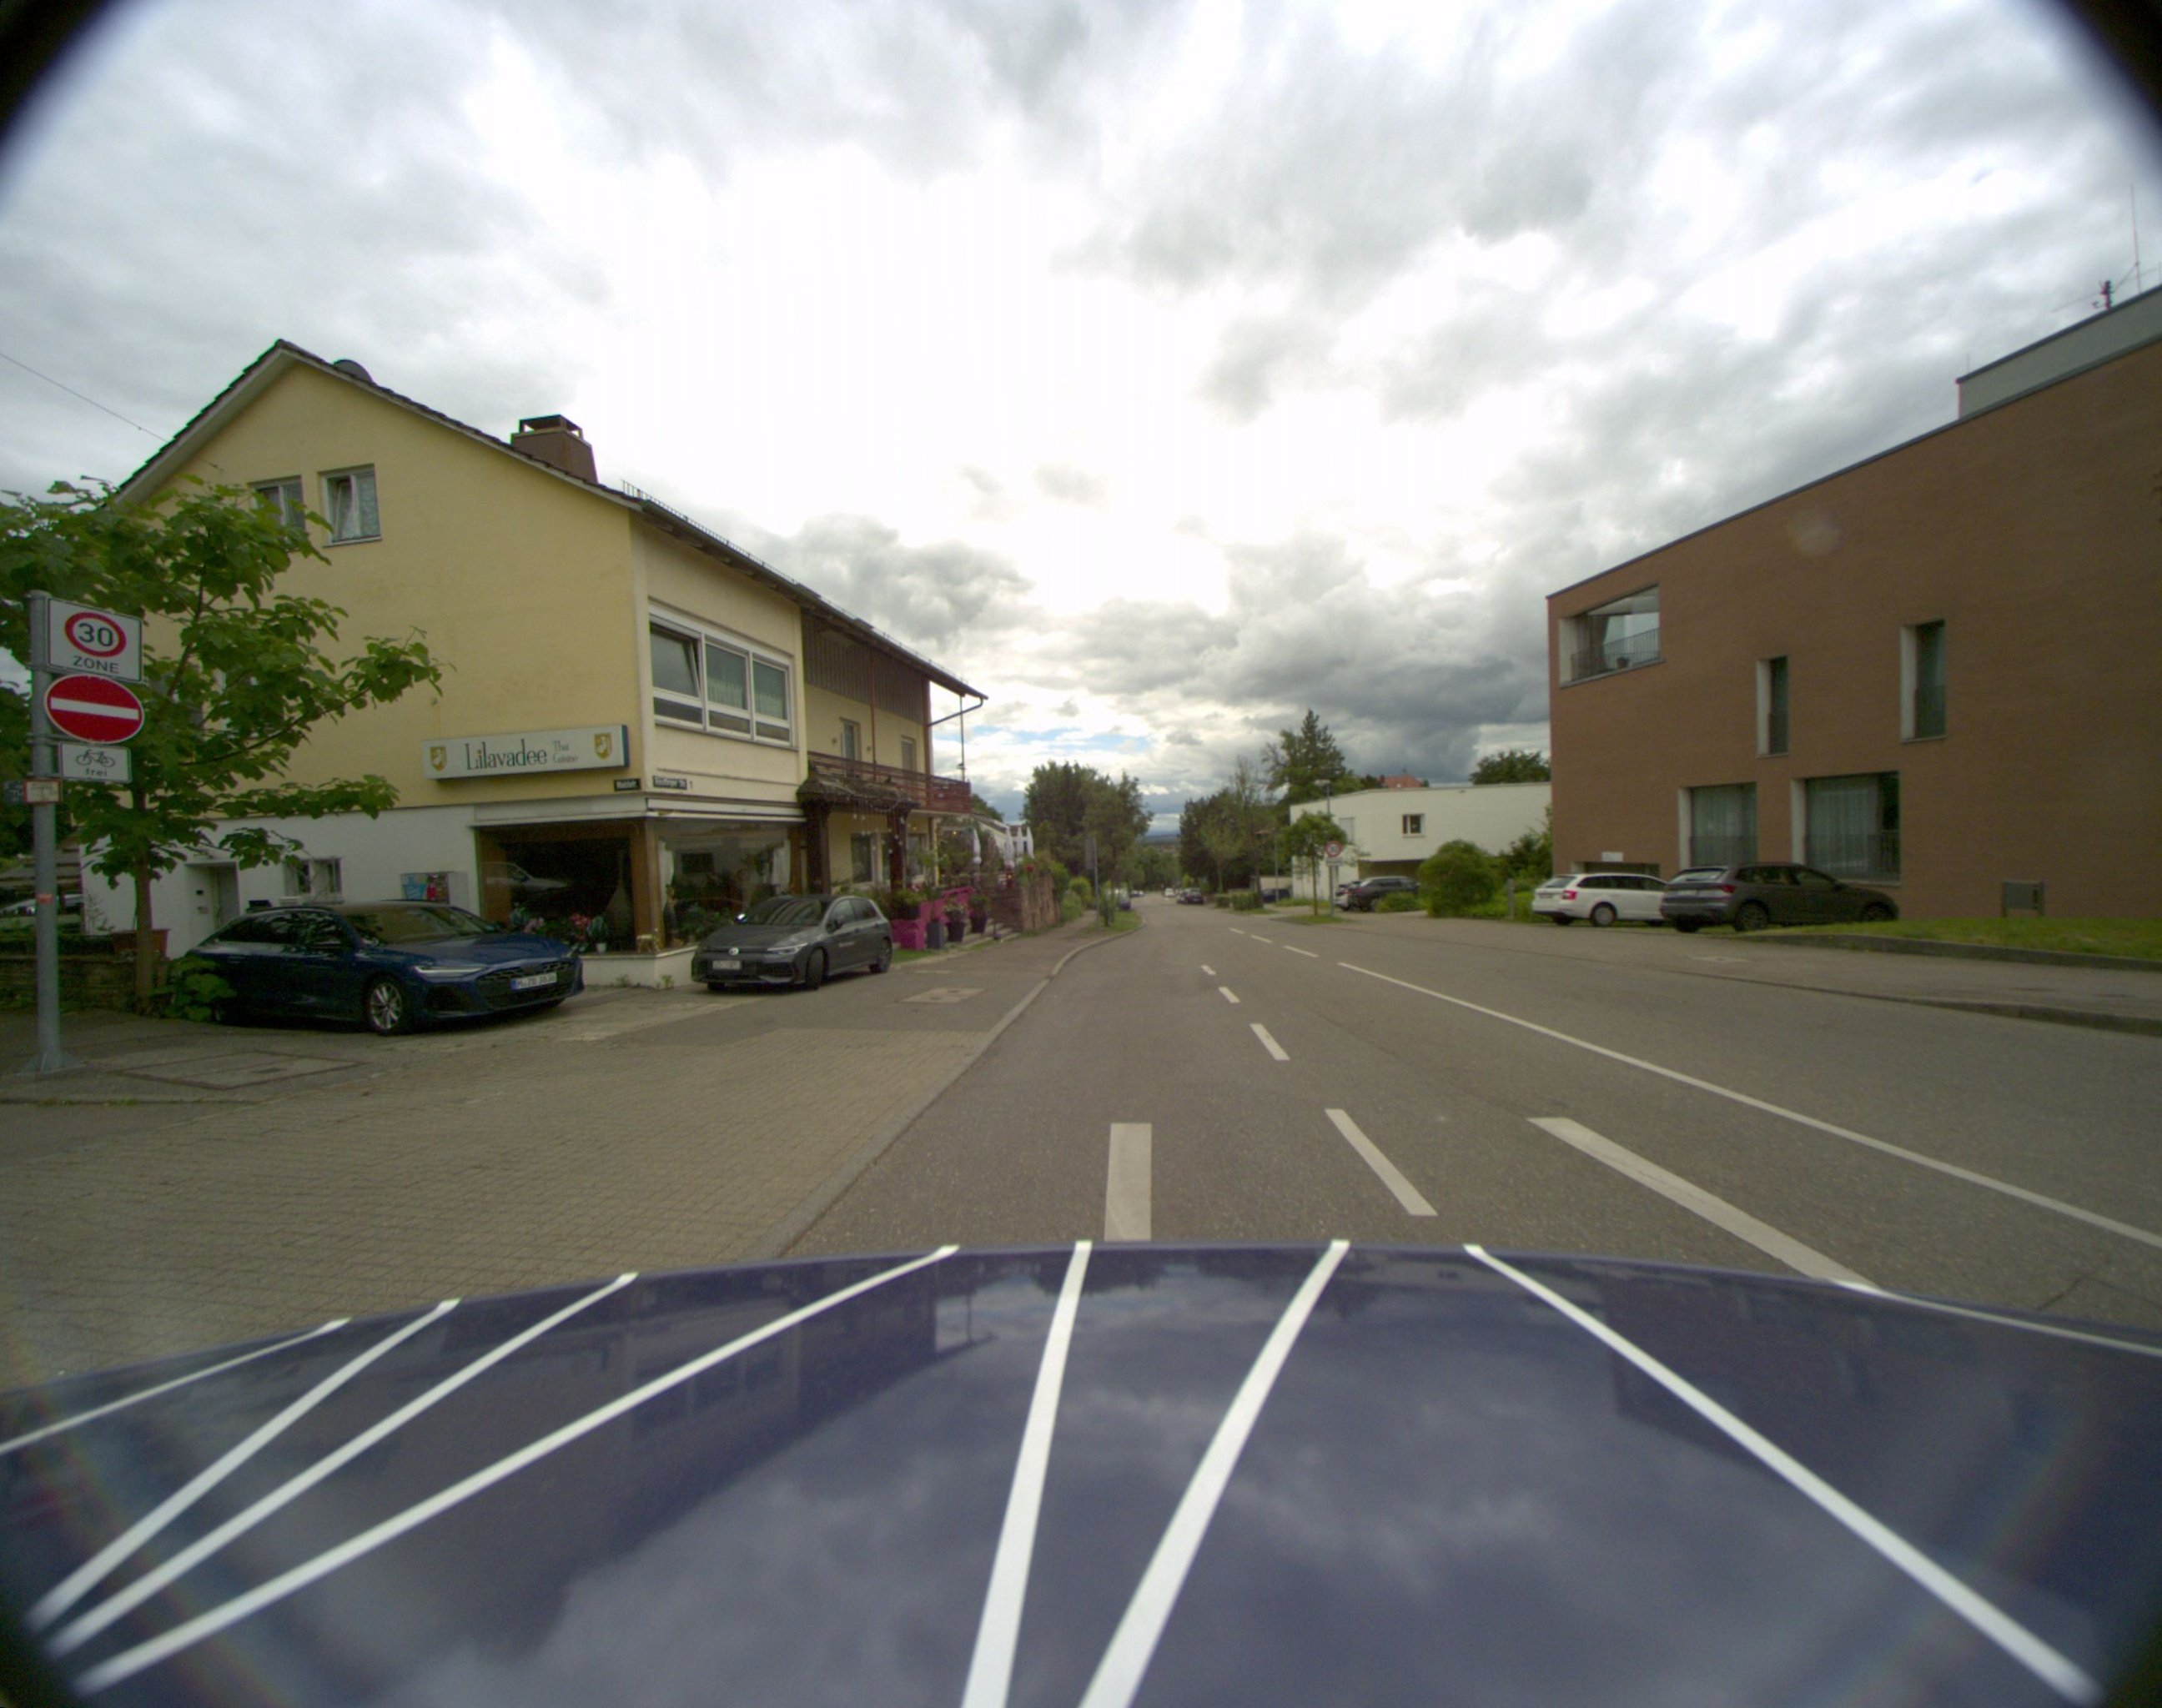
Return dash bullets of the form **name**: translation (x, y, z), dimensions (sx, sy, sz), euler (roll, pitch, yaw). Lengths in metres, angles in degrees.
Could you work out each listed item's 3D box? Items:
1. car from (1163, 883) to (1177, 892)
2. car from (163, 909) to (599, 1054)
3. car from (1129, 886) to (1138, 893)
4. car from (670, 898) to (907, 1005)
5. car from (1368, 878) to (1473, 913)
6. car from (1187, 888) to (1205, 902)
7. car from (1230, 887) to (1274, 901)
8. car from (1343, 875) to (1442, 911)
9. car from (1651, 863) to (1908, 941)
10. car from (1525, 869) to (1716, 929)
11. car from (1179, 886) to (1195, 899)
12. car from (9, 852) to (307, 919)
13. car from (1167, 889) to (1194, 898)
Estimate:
- **car**: translation (16.209, 6.071, 137.984), dimensions (1.884, 1.412, 4.368), euler (-1, -1, -2)
- **car**: translation (-8.531, 1.420, 9.300), dimensions (4.739, 1.378, 1.802), euler (-2, -1, 18)
- **car**: translation (12.742, 8.581, 183.563), dimensions (1.883, 1.412, 4.369), euler (-1, -1, 1)
- **car**: translation (-4.545, 1.481, 12.638), dimensions (1.796, 1.452, 4.332), euler (-1, -4, 8)
- **car**: translation (15.600, 1.897, 35.046), dimensions (3.996, 1.476, 1.728), euler (-2, -3, 3)
- **car**: translation (12.182, 4.301, 80.589), dimensions (1.661, 1.412, 4.004), euler (-2, -3, 6)
- **car**: translation (16.547, 3.885, 73.740), dimensions (3.995, 1.278, 1.665), euler (-2, -3, 7)
- **car**: translation (15.054, 1.896, 36.888), dimensions (3.996, 1.585, 1.795), euler (-2, -3, 3)
- **car**: translation (14.912, 1.015, 16.370), dimensions (3.998, 1.476, 1.727), euler (-1, -3, -3)
- **car**: translation (14.613, 1.211, 20.724), dimensions (3.998, 1.476, 1.727), euler (-1, -3, -3)
- **car**: translation (12.499, 4.556, 89.587), dimensions (1.661, 1.412, 4.372), euler (-2, -3, 6)
- **car**: translation (-22.649, 0.831, 18.918), dimensions (1.795, 1.452, 4.336), euler (-2, -4, 22)
- **car**: translation (15.971, 6.327, 121.669), dimensions (3.998, 1.476, 1.727), euler (-1, -3, -4)
